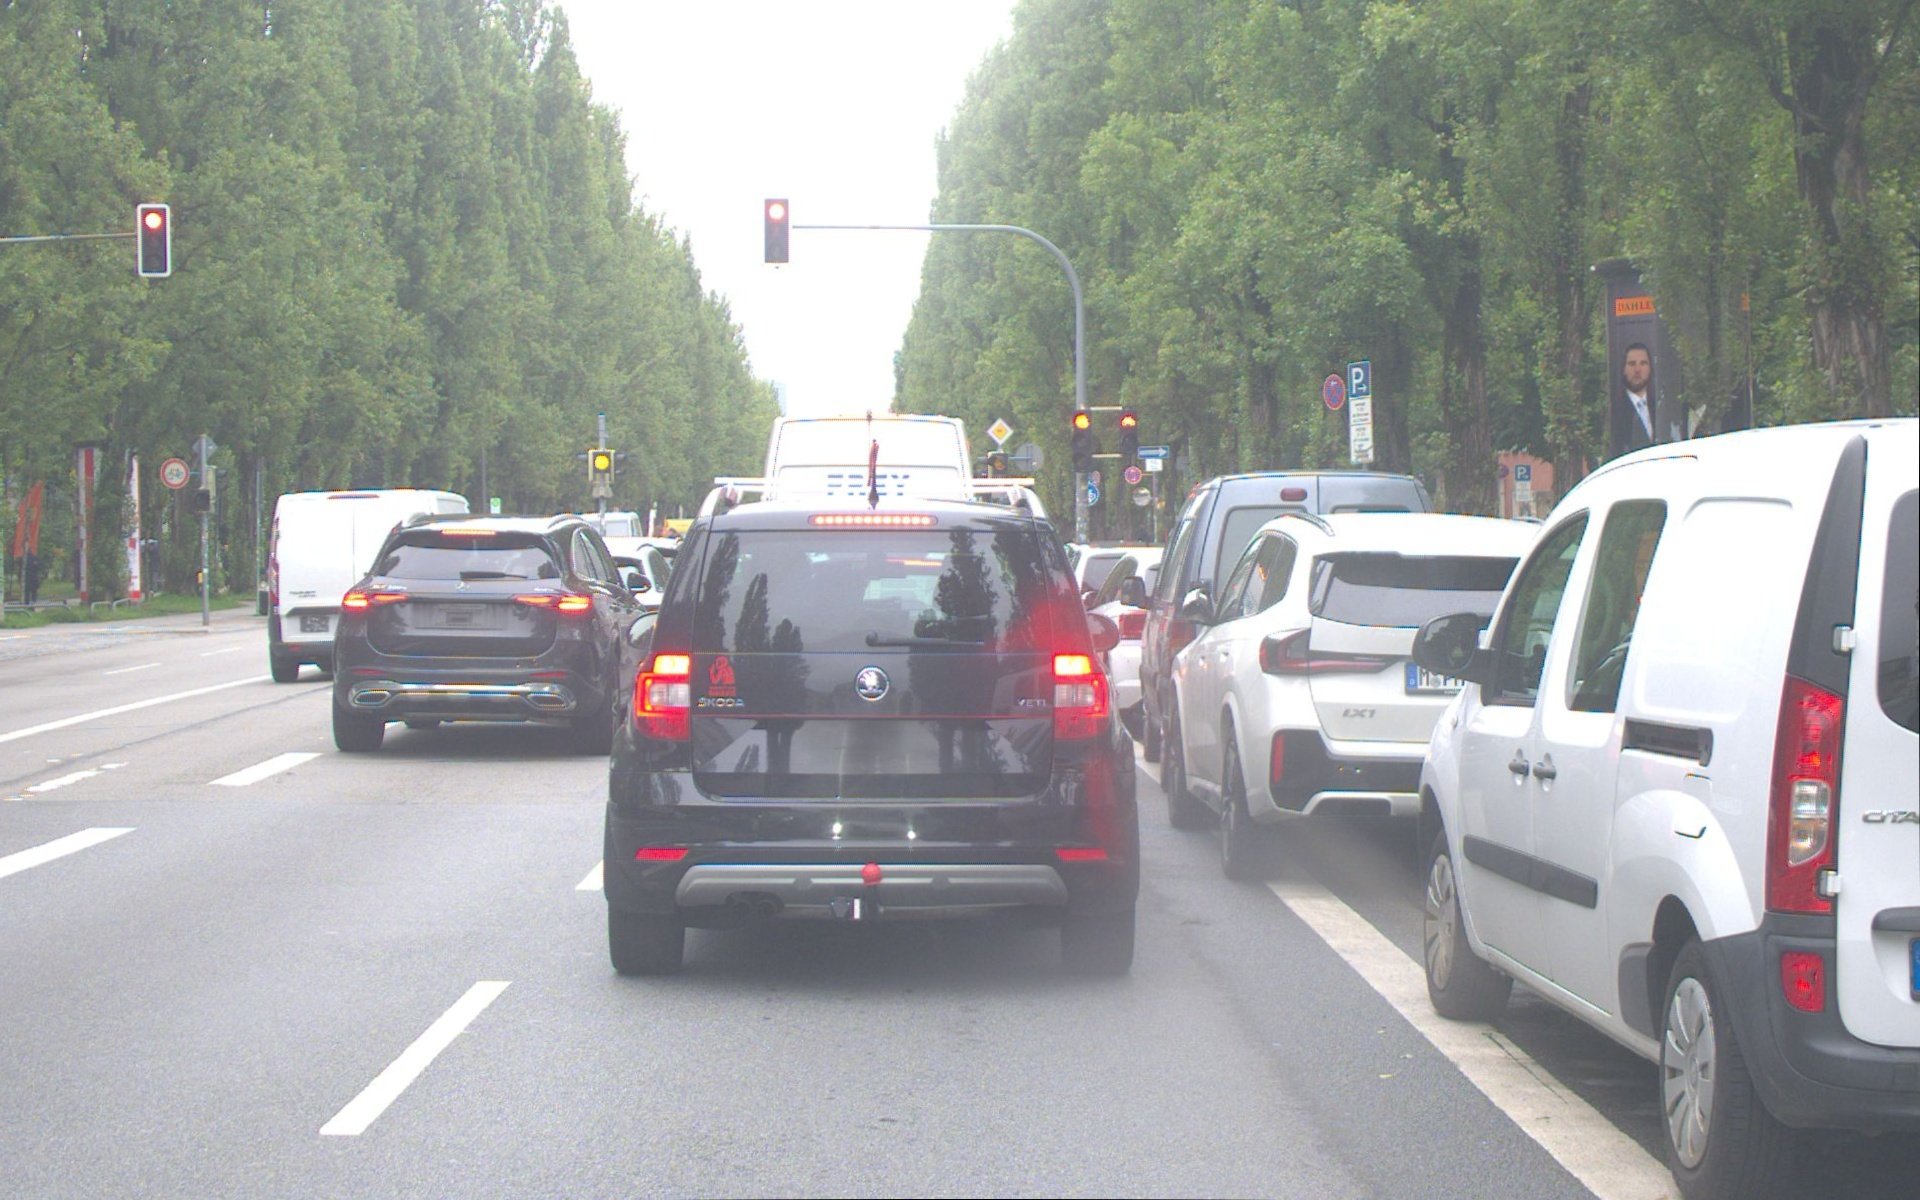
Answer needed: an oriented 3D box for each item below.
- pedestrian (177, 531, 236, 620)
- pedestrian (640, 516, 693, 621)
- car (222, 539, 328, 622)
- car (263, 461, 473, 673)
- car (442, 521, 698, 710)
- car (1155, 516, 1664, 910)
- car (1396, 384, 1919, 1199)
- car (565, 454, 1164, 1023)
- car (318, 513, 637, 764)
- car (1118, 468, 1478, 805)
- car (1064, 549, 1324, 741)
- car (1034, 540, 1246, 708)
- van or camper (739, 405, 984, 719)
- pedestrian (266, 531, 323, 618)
[{"bbox_3d":[-15.115,-0.501,69.009,0.880,1.758,0.878,-1,1,8],"label":"pedestrian"},{"bbox_3d":[-5.677,-0.621,66.517,0.885,2.007,1.013,-1,1,2],"label":"pedestrian"},{"bbox_3d":[-15.359,-0.465,77.258,1.688,1.776,3.775,-1,1,-1],"label":"car"},{"bbox_3d":[-6.230,-0.371,36.531,1.781,2.104,4.025,-1,1,-4],"label":"car"},{"bbox_3d":[-3.459,0.087,31.168,1.993,1.555,4.001,-1,2,-2],"label":"car"},{"bbox_3d":[1.961,0.411,16.160,1.741,1.587,4.212,-1,1,-1],"label":"car"},{"bbox_3d":[2.404,0.450,8.985,1.851,1.875,4.169,-1,1,-2],"label":"car"},{"bbox_3d":[-0.342,0.401,12.900,1.855,1.764,4.000,1,1,-1],"label":"car"},{"bbox_3d":[-3.352,0.204,24.556,1.781,1.614,4.025,1,1,-1],"label":"car"},{"bbox_3d":[2.005,0.156,21.431,1.735,1.888,4.025,-1,1,-1],"label":"car"},{"bbox_3d":[1.807,0.312,27.509,1.735,1.382,3.563,-1,1,-1],"label":"car"},{"bbox_3d":[1.664,0.185,32.809,1.735,1.470,3.563,-1,1,-1],"label":"car"},{"bbox_3d":[-0.906,-0.360,30.118,1.975,2.539,4.025,-1,1,-3],"label":"van or camper"},{"bbox_3d":[-13.519,-0.524,69.857,0.880,1.758,0.878,-1,1,8],"label":"pedestrian"}]
